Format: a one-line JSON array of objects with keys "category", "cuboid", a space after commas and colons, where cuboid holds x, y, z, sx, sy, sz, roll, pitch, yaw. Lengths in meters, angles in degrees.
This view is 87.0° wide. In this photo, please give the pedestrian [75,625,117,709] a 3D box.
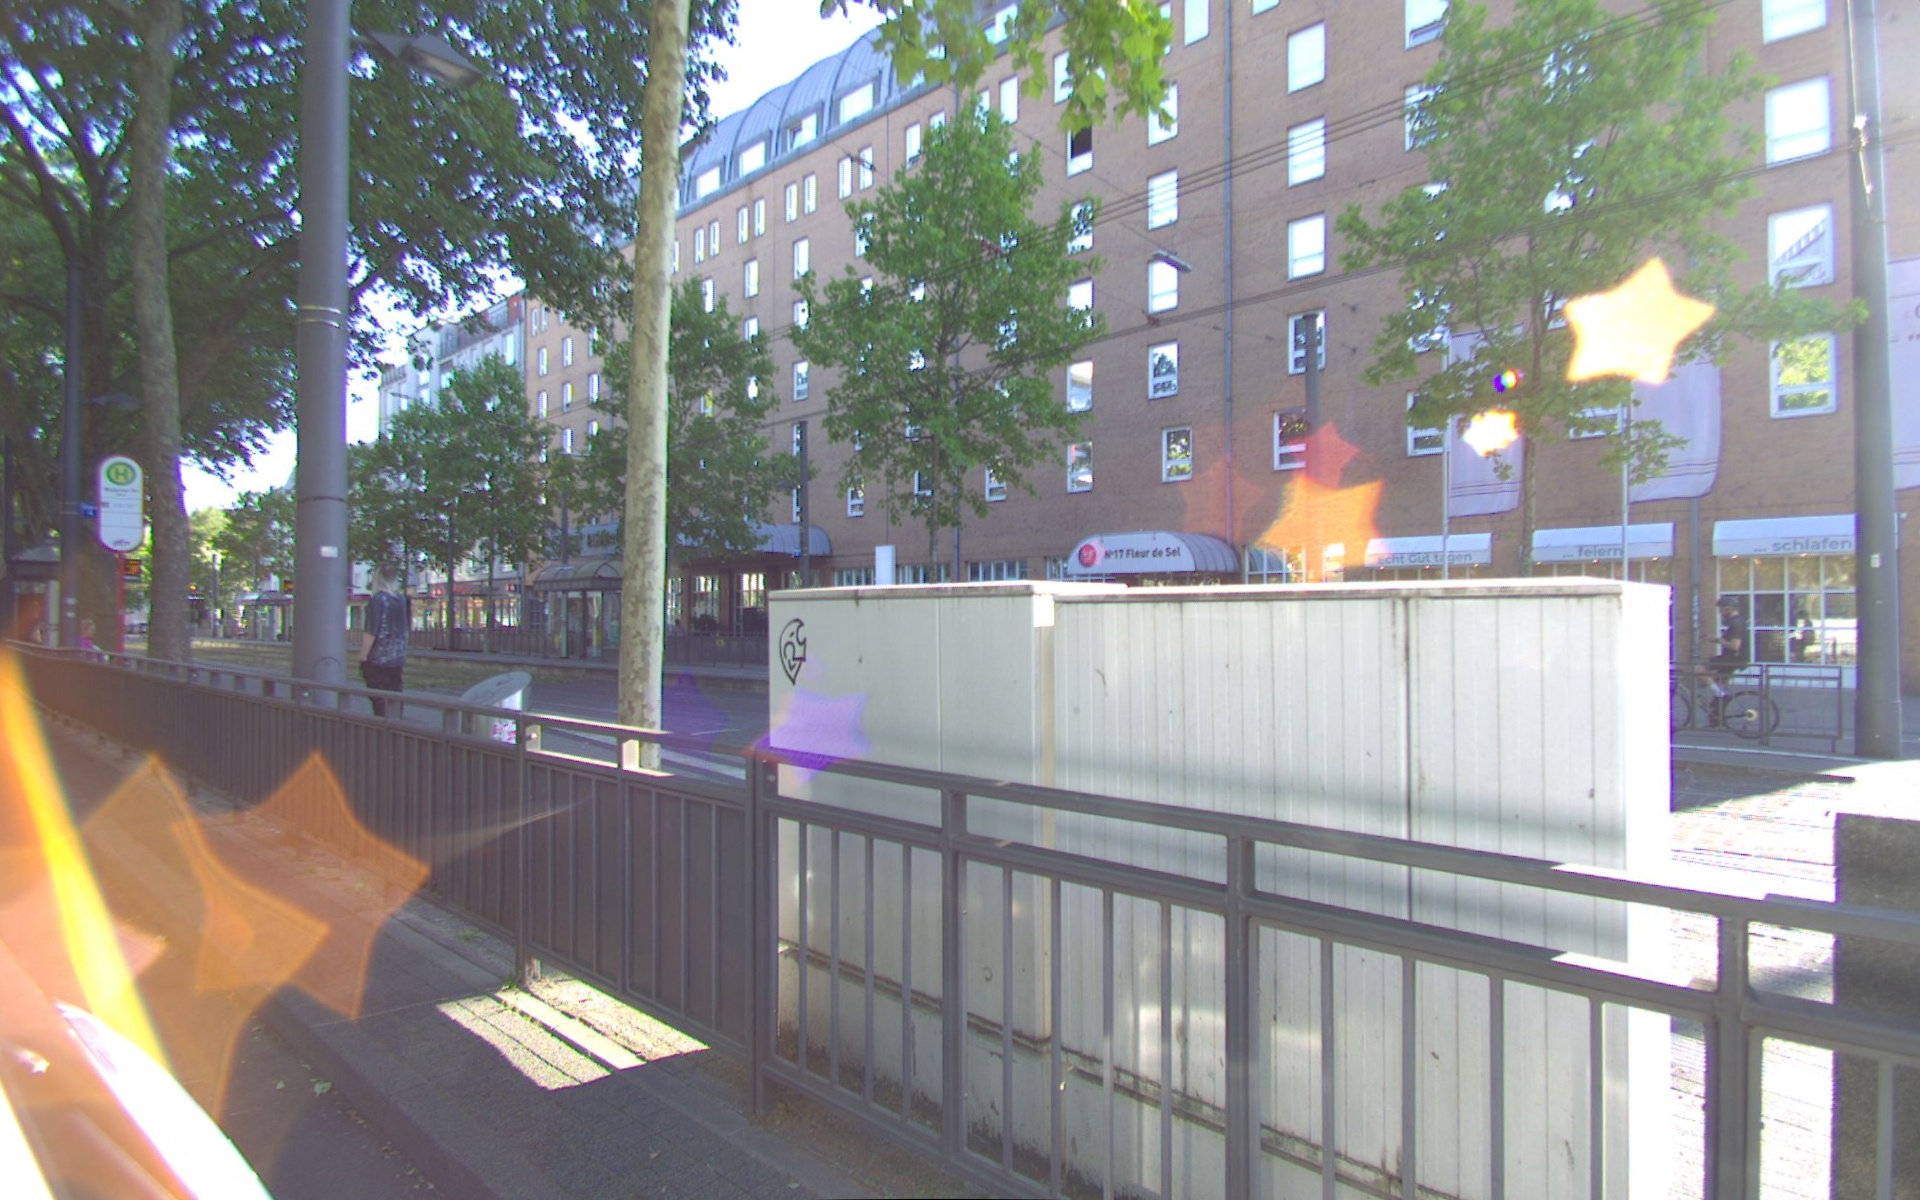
[{"category": "pedestrian", "cuboid": [-13.961, 1.066, 16.352, 0.493, 1.325, 0.419, 1, -2, -41]}]

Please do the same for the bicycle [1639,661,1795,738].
[{"category": "bicycle", "cuboid": [10.957, 1.415, 14.698, 0.444, 1.012, 1.754, 2, -2, -44]}]

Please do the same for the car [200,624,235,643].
[{"category": "car", "cuboid": [-71.750, 3.220, 97.759, 3.998, 1.719, 1.972, -1, -2, 42]}]

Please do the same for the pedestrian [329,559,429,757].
[{"category": "pedestrian", "cuboid": [-5.801, 0.553, 10.121, 0.619, 1.897, 0.601, 1, 0, 25]}]

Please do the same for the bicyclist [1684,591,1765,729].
[{"category": "bicyclist", "cuboid": [10.992, 0.850, 14.551, 0.564, 1.918, 0.814, 2, -2, -43]}]

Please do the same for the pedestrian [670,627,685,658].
[{"category": "pedestrian", "cuboid": [-13.412, 2.019, 48.056, 0.516, 1.447, 0.512, -2, -2, 44]}]
